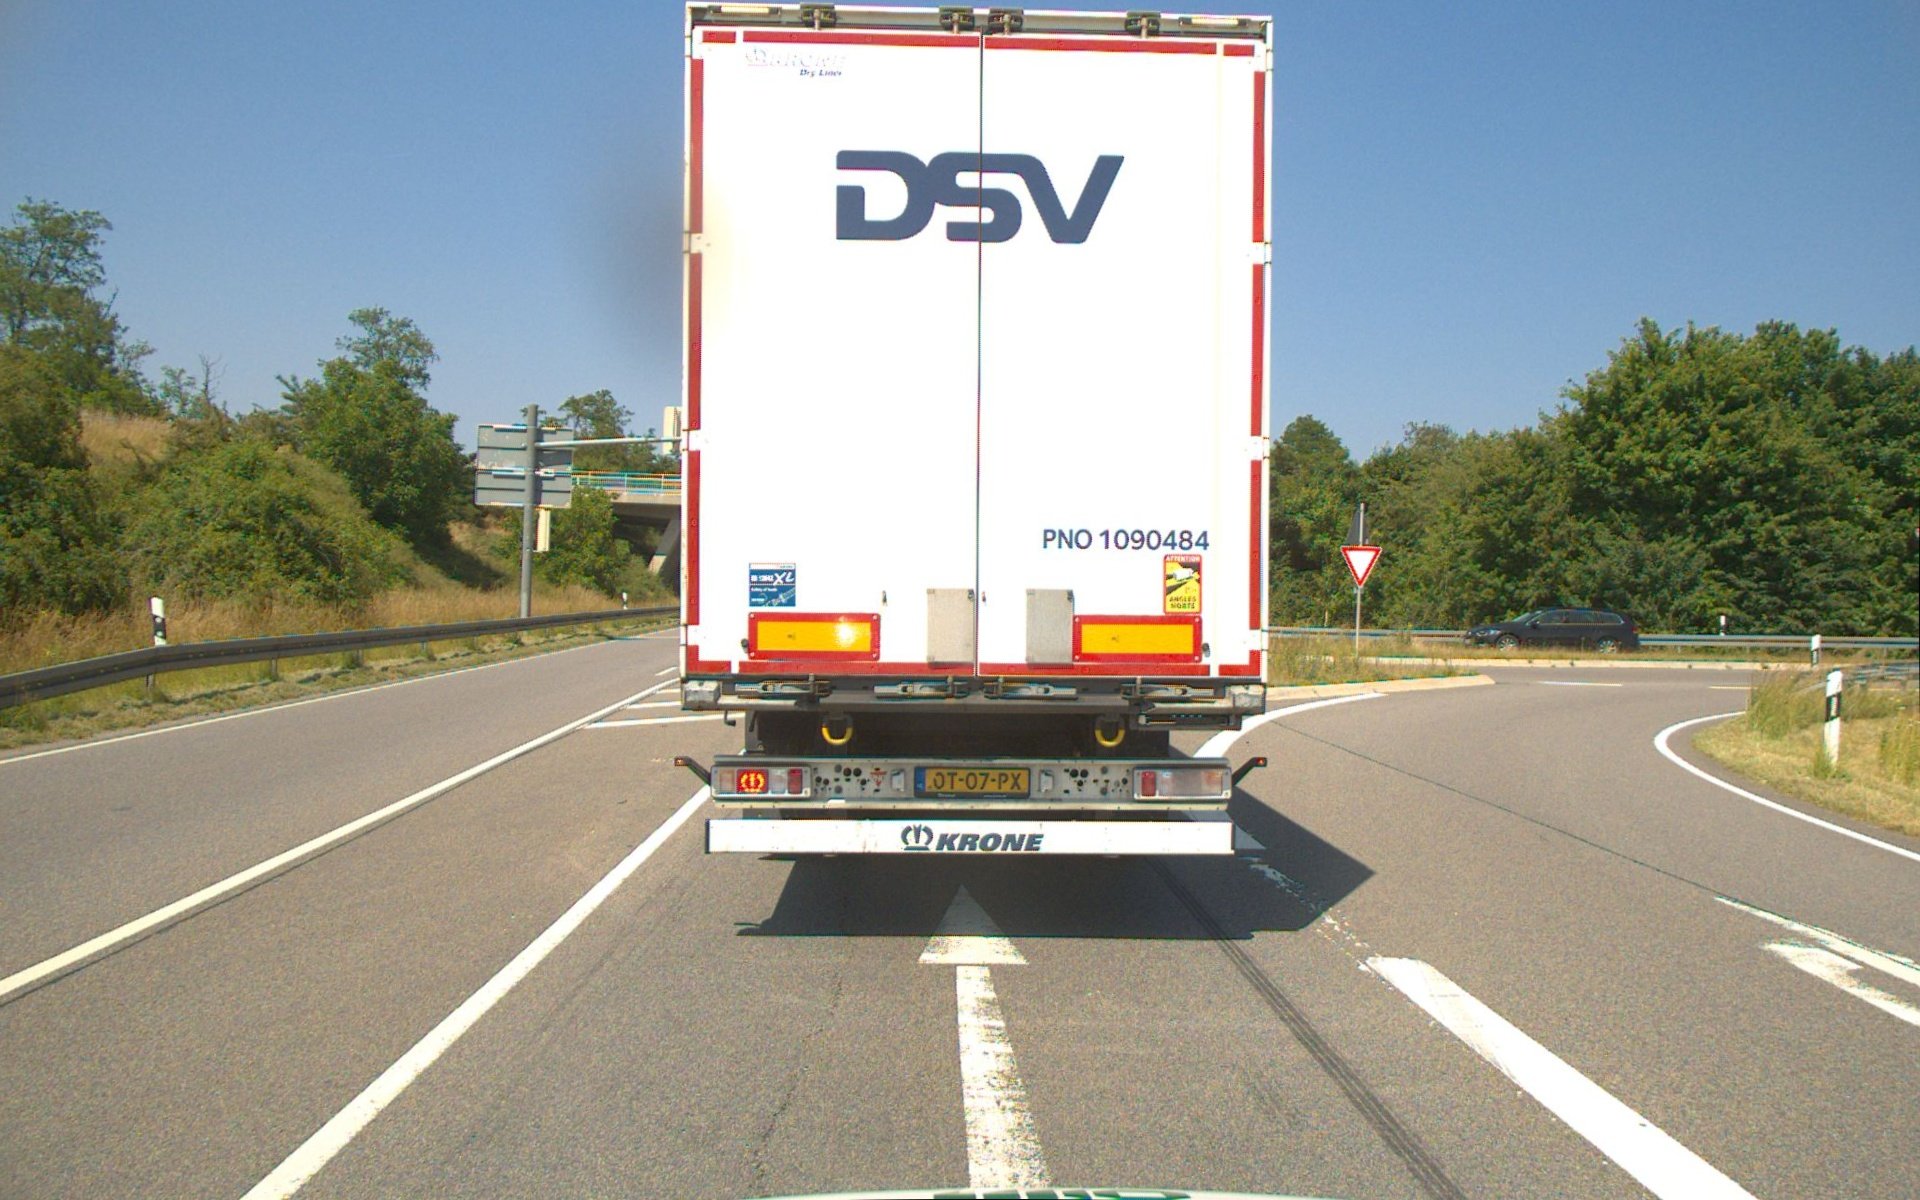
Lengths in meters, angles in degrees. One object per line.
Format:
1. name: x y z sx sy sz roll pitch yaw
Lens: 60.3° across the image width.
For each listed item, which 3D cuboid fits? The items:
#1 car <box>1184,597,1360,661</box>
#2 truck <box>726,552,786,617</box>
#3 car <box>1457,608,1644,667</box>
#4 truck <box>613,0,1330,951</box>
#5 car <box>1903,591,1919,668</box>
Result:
1. car: 8.302 0.771 44.238 4.393 1.626 1.768 1 -1 2
2. truck: -11.804 -0.854 96.244 2.591 3.600 7.888 1 0 -1
3. car: 16.302 1.033 45.838 4.583 1.540 1.854 1 -1 6
4. truck: -0.058 -0.561 11.784 2.927 4.011 9.872 1 0 -1
5. car: 28.348 0.823 44.157 5.213 2.049 2.000 1 -1 0
